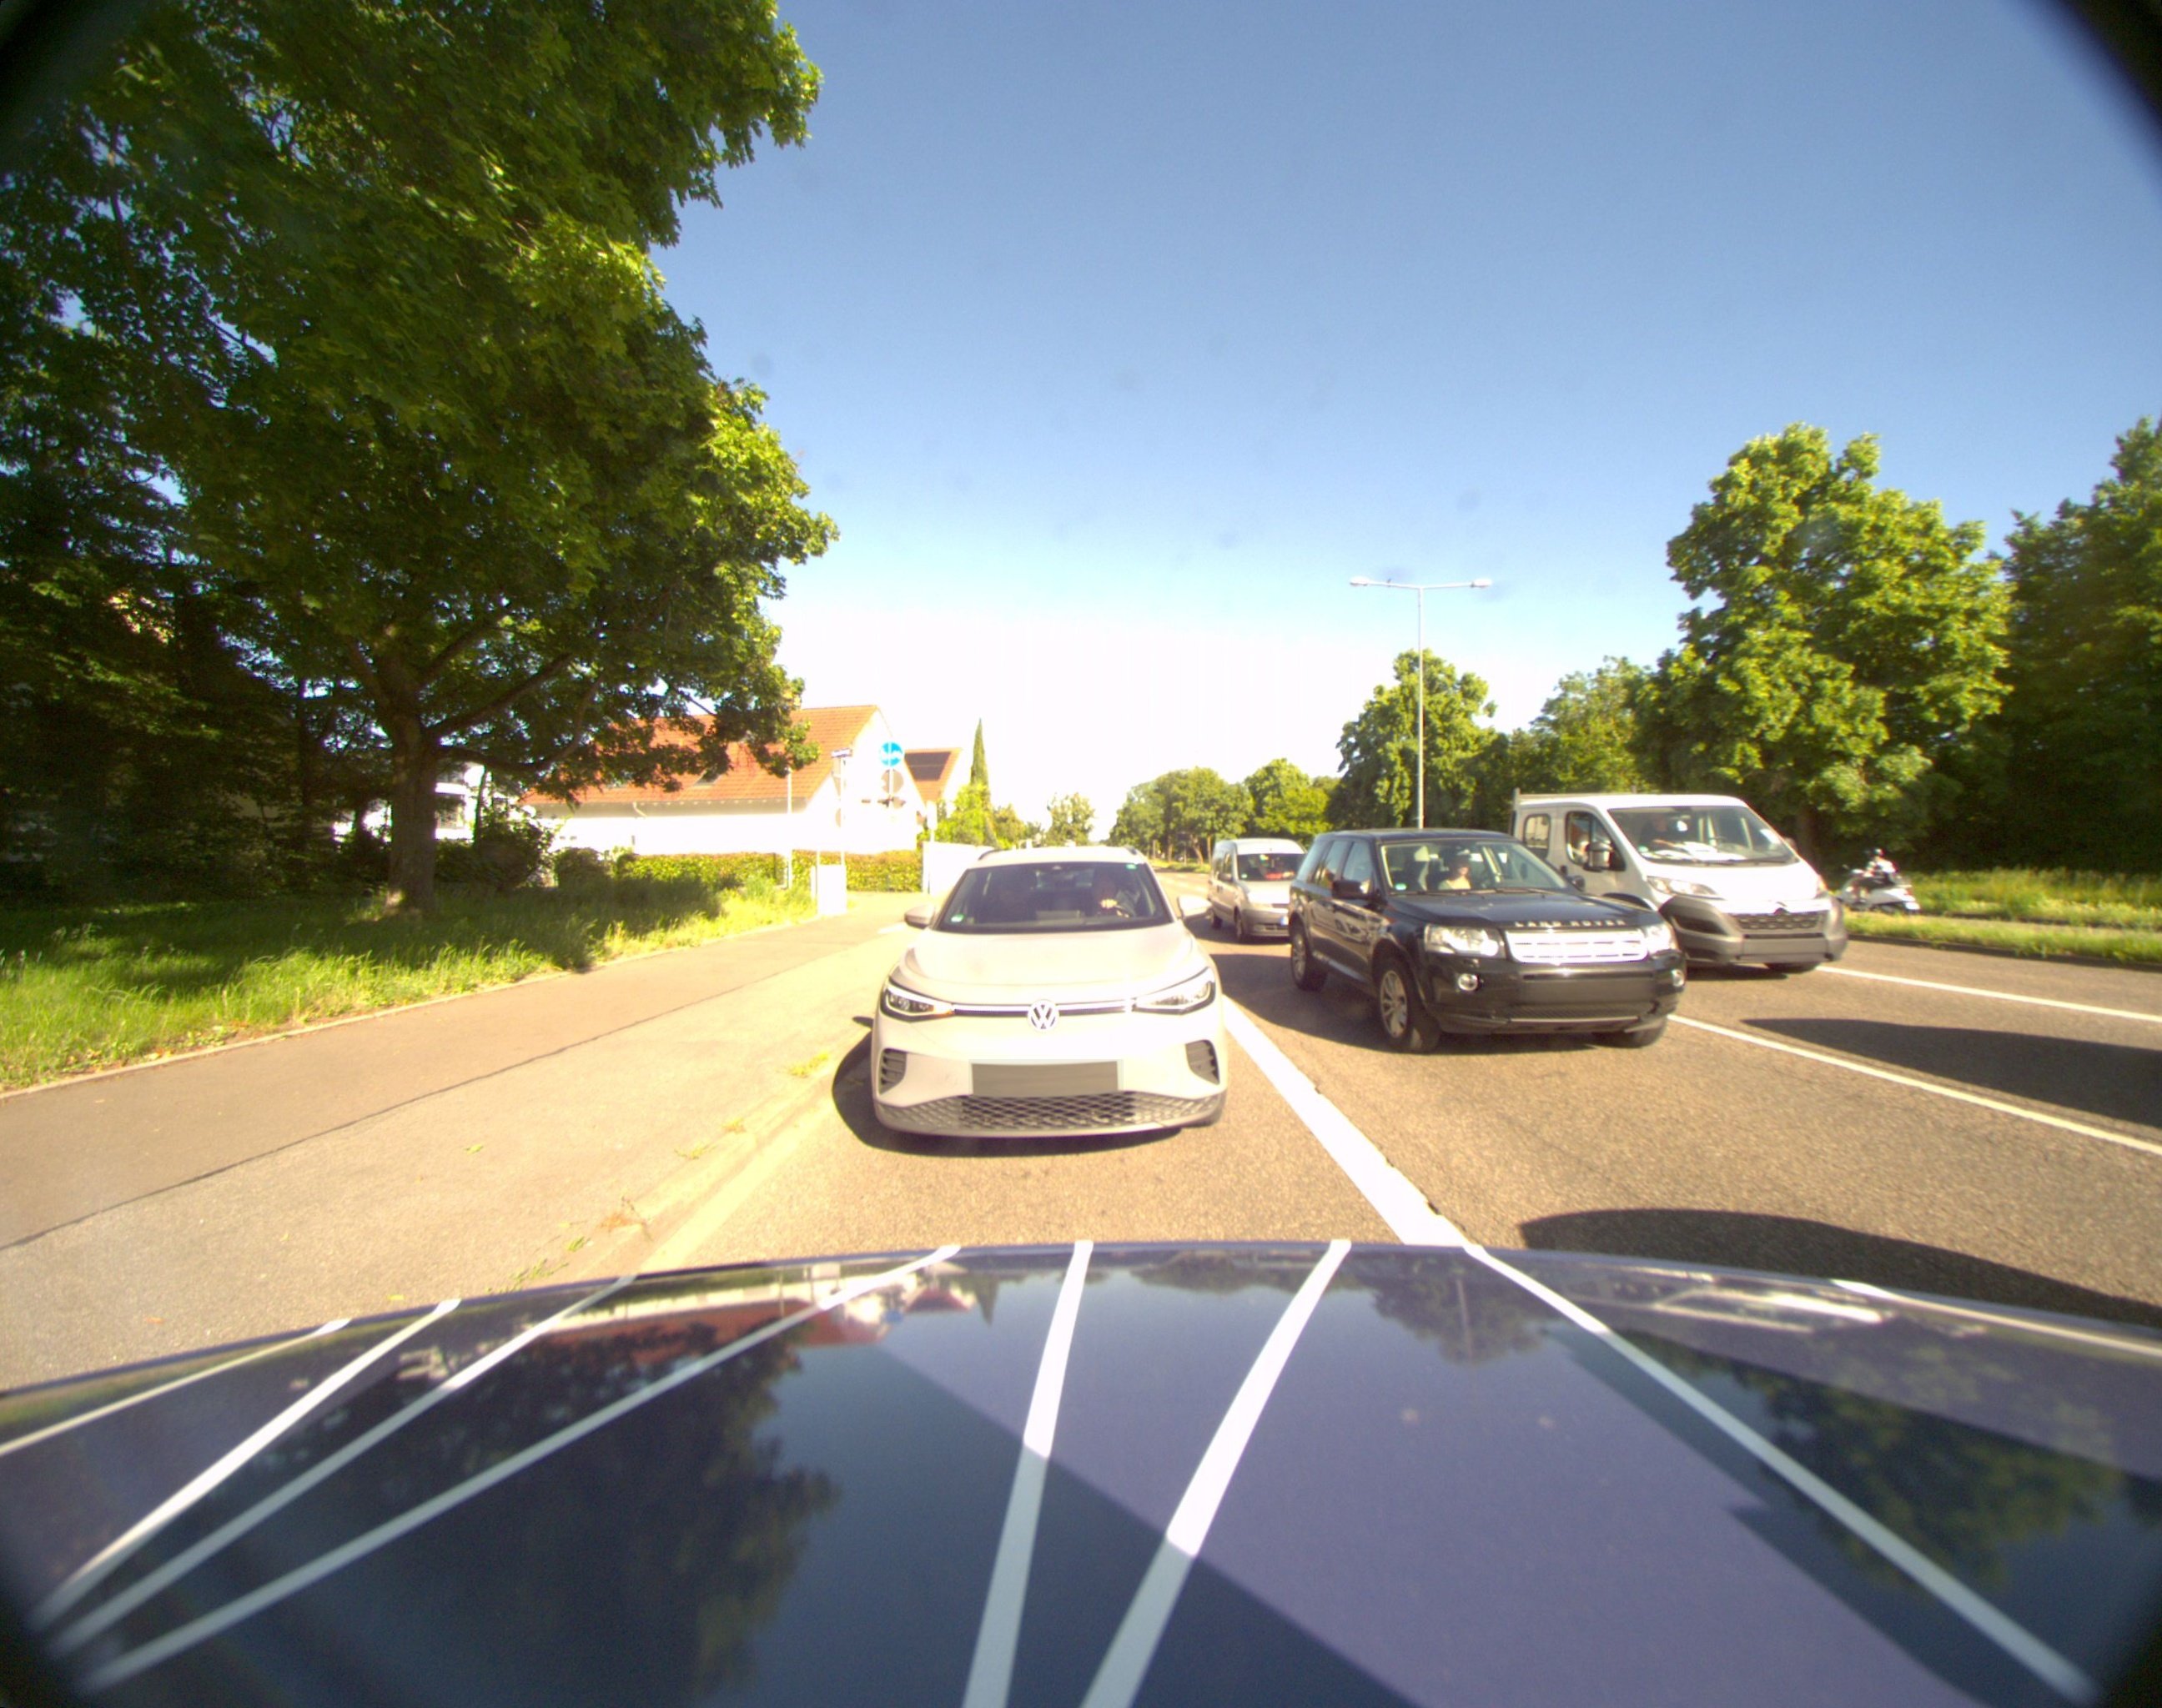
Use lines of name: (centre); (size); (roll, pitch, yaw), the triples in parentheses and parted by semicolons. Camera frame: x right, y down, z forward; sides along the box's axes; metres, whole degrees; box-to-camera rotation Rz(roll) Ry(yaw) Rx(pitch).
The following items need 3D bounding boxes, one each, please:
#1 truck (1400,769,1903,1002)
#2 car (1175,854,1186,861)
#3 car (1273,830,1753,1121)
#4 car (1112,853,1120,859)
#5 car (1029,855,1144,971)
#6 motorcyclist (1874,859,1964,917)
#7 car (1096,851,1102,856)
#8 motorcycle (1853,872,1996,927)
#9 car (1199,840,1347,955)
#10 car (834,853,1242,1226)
truck: (7.209, 0.282, 11.094); (2.185, 2.307, 6.842); (-2, 1, 0)
car: (20.750, 0.676, 158.382); (1.792, 1.409, 4.000); (0, 0, 1)
car: (3.165, 0.713, 6.777); (1.816, 1.721, 4.386); (-2, 1, 1)
car: (8.717, 0.548, 189.579); (1.704, 1.466, 3.931); (-1, 0, 0)
car: (0.108, 0.864, 13.025); (1.632, 1.586, 4.024); (-2, 1, 1)
motorcyclist: (19.199, 0.763, 17.442); (0.793, 1.283, 1.159); (0, 0, 1)
car: (5.517, -0.088, 233.048); (1.704, 1.466, 3.931); (0, 0, 1)
motorcycle: (19.194, 1.000, 17.385); (0.793, 1.119, 2.235); (0, 0, 1)
car: (3.324, 0.652, 13.971); (1.632, 1.741, 4.386); (-2, 1, 1)
car: (-0.171, 0.847, 5.581); (1.858, 1.679, 4.206); (0, 1, 1)
